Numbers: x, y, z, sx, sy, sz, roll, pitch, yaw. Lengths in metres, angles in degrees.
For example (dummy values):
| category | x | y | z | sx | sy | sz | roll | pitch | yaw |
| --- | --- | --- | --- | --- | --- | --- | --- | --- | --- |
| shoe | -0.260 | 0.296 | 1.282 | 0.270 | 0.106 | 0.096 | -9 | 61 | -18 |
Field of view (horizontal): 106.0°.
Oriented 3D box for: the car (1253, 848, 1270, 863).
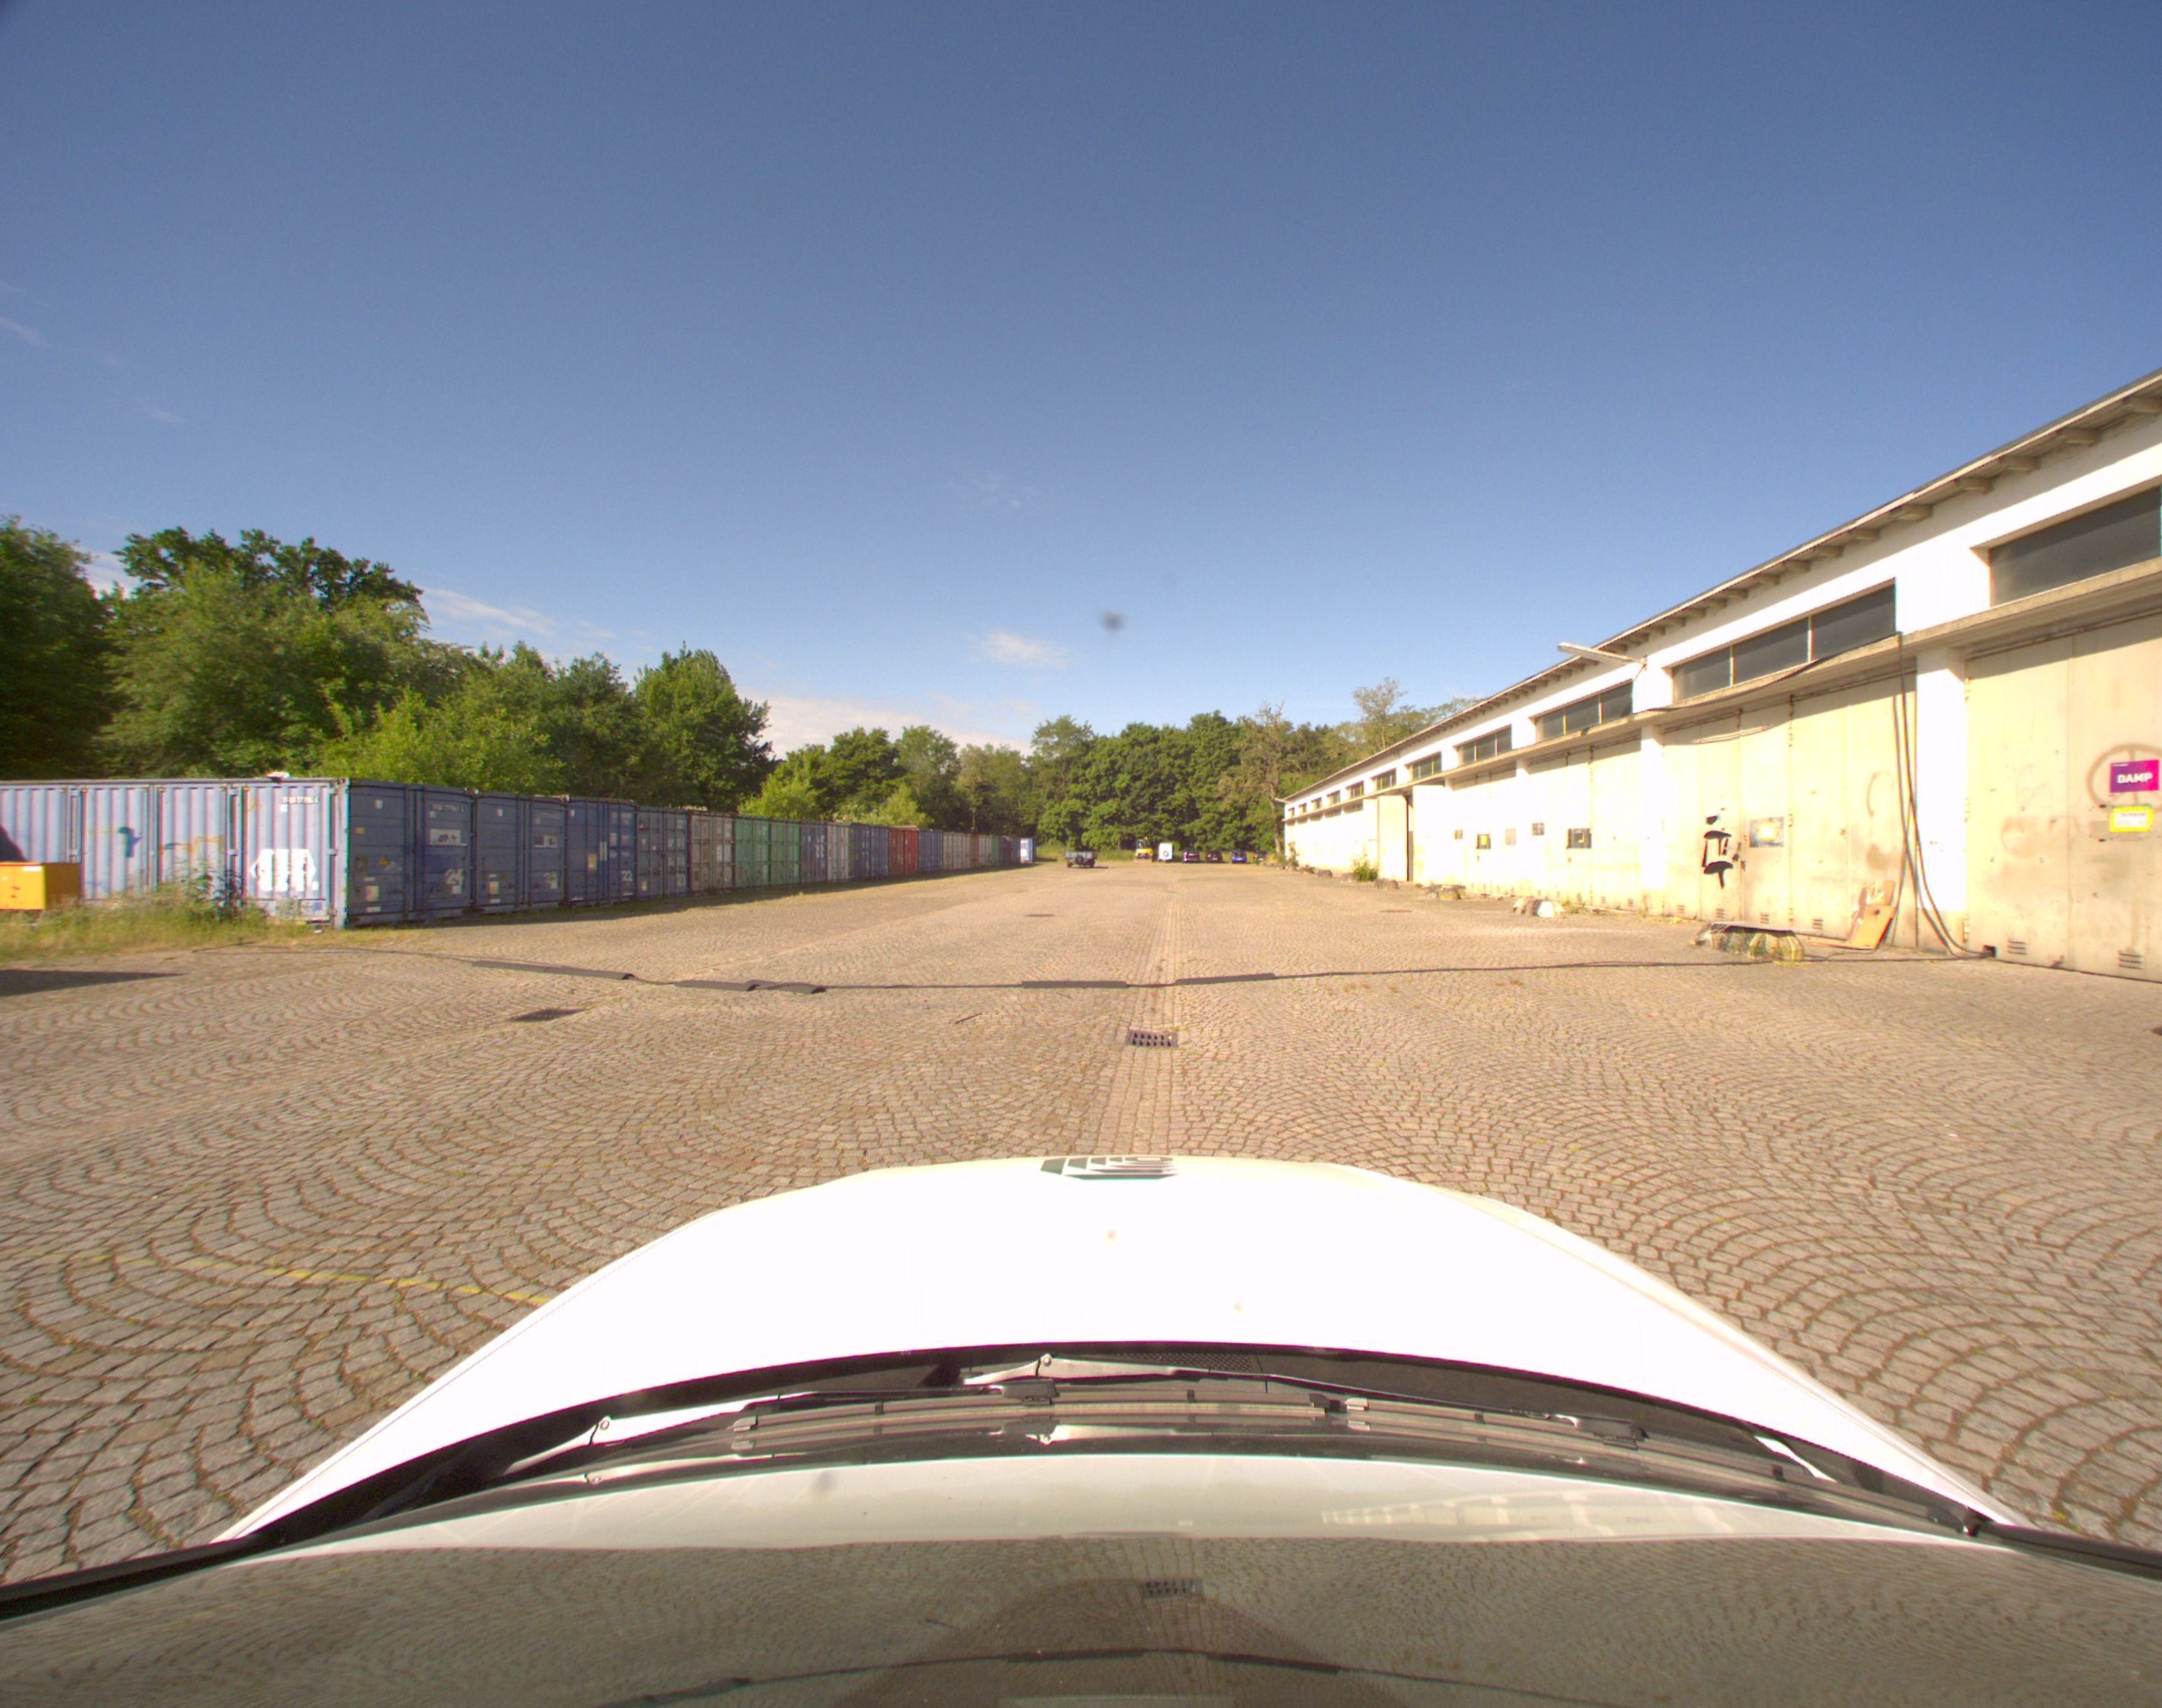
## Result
| category | x | y | z | sx | sy | sz | roll | pitch | yaw |
| --- | --- | --- | --- | --- | --- | --- | --- | --- | --- |
| car | 19.615 | 0.143 | 88.516 | 1.673 | 1.563 | 4.015 | 0 | 0 | 14 |

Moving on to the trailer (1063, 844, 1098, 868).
| category | x | y | z | sx | sy | sz | roll | pitch | yaw |
| --- | --- | --- | --- | --- | --- | --- | --- | --- | --- |
| trailer | 0.024 | 0.169 | 71.738 | 2.393 | 2.013 | 4.183 | 2 | 0 | 9 |

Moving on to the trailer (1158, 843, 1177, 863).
| category | x | y | z | sx | sy | sz | roll | pitch | yaw |
| --- | --- | --- | --- | --- | --- | --- | --- | --- | --- |
| trailer | 9.539 | -0.111 | 89.876 | 1.782 | 2.090 | 3.983 | 0 | 0 | 11 |

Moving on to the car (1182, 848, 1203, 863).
| category | x | y | z | sx | sy | sz | roll | pitch | yaw |
| --- | --- | --- | --- | --- | --- | --- | --- | --- | --- |
| car | 12.039 | 0.138 | 87.921 | 1.848 | 1.585 | 4.015 | 0 | 0 | 14 |

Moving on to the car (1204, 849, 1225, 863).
| category | x | y | z | sx | sy | sz | roll | pitch | yaw |
| --- | --- | --- | --- | --- | --- | --- | --- | --- | --- |
| car | 14.438 | 0.160 | 87.832 | 1.979 | 1.462 | 4.015 | 0 | 0 | 14 |

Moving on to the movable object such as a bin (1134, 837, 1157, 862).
| category | x | y | z | sx | sy | sz | roll | pitch | yaw |
| --- | --- | --- | --- | --- | --- | --- | --- | --- | --- |
| movable object such as a bin | 7.199 | -0.511 | 90.408 | 1.981 | 2.618 | 4.012 | 2 | 0 | 11 |

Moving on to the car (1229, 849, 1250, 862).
| category | x | y | z | sx | sy | sz | roll | pitch | yaw |
| --- | --- | --- | --- | --- | --- | --- | --- | --- | --- |
| car | 17.043 | 0.167 | 87.552 | 1.979 | 1.420 | 4.015 | 0 | 0 | 14 |
